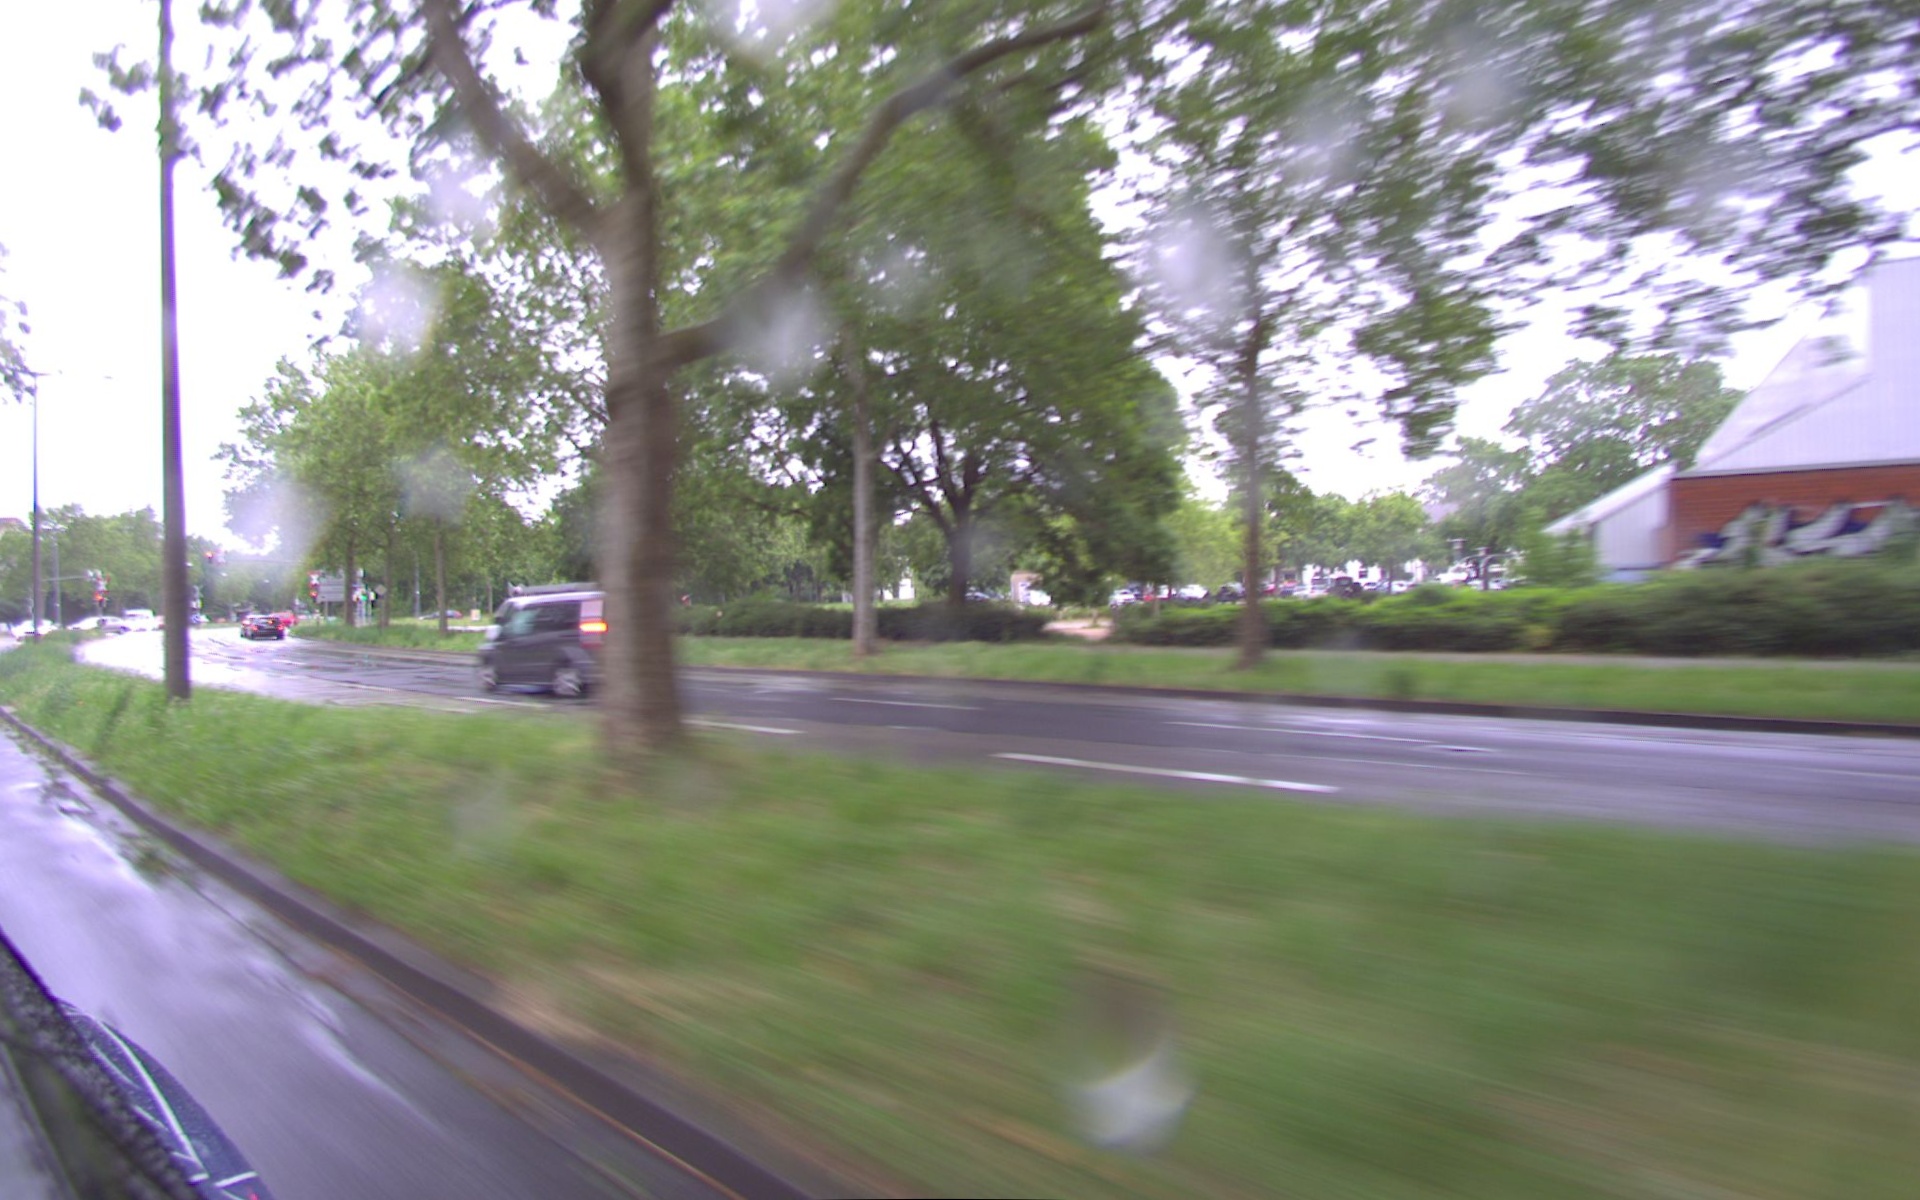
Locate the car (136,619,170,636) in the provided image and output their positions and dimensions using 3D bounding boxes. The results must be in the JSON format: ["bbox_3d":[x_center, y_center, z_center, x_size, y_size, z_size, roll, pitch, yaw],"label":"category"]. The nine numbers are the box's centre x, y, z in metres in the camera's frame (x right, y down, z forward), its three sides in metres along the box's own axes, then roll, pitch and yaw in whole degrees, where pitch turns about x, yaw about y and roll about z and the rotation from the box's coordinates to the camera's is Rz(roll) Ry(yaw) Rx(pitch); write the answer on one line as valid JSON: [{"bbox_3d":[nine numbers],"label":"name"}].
[{"bbox_3d":[-86.418,2.953,108.419,1.965,1.642,4.536,-2,0,-27],"label":"car"}]

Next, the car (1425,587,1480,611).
[{"bbox_3d":[42.142,-0.101,86.700,1.968,1.916,4.508,-1,0,-9],"label":"car"}]

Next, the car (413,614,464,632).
[{"bbox_3d":[-54.232,2.355,105.328,4.443,1.642,2.007,-2,0,-22],"label":"car"}]

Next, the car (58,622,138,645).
[{"bbox_3d":[-68.026,2.612,79.951,1.982,1.642,4.480,-1,0,16],"label":"car"}]

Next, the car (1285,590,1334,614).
[{"bbox_3d":[29.806,0.192,86.447,1.968,1.916,4.508,-1,0,-9],"label":"car"}]

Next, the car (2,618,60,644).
[{"bbox_3d":[-62.131,2.037,67.770,1.966,1.642,4.535,-2,0,-31],"label":"car"}]

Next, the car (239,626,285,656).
[{"bbox_3d":[-43.161,2.495,62.545,1.969,1.643,4.339,-2,0,-40],"label":"car"}]

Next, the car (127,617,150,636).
[{"bbox_3d":[-97.189,3.132,119.767,1.968,2.124,5.154,-2,0,-37],"label":"car"}]

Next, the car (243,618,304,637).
[{"bbox_3d":[-65.196,2.612,96.210,4.443,1.642,2.007,-2,0,-22],"label":"car"}]

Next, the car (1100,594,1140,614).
[{"bbox_3d":[13.525,0.318,85.698,1.968,1.549,4.508,-2,0,-9],"label":"car"}]

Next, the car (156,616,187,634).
[{"bbox_3d":[-89.221,2.801,114.586,1.965,1.901,4.536,-2,0,-28],"label":"car"}]

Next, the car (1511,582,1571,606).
[{"bbox_3d":[49.102,-0.464,85.675,1.968,1.916,4.508,-1,0,-9],"label":"car"}]

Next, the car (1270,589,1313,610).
[{"bbox_3d":[31.833,-0.080,97.359,1.968,1.916,4.508,-1,0,-9],"label":"car"}]

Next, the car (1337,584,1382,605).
[{"bbox_3d":[38.693,-0.513,98.062,1.968,1.916,4.508,-1,0,-9],"label":"car"}]

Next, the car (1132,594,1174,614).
[{"bbox_3d":[16.260,0.313,85.423,1.968,1.549,4.508,-2,0,-9],"label":"car"}]

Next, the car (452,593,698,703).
[{"bbox_3d":[-7.110,0.813,18.447,4.950,1.749,2.010,-2,-1,40],"label":"car"}]

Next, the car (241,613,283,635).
[{"bbox_3d":[-47.724,1.605,69.191,1.969,1.384,4.339,-2,0,-40],"label":"car"}]

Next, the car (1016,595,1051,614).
[{"bbox_3d":[6.205,0.349,85.766,1.968,1.549,4.508,-2,0,-9],"label":"car"}]

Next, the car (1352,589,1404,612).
[{"bbox_3d":[35.724,0.028,86.622,1.968,1.916,4.508,-1,0,-9],"label":"car"}]

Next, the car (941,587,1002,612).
[{"bbox_3d":[1.028,-0.049,93.796,5.331,2.190,2.003,-2,0,-7],"label":"car"}]

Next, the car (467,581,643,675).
[{"bbox_3d":[-10.709,0.714,26.542,5.431,2.243,2.009,-2,-1,41],"label":"car"}]

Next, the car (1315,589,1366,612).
[{"bbox_3d":[32.394,0.035,86.272,1.968,1.916,4.508,-1,0,-9],"label":"car"}]

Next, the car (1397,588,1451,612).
[{"bbox_3d":[39.252,0.022,85.784,2.080,1.916,4.505,-1,0,-6],"label":"car"}]

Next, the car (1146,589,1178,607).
[{"bbox_3d":[22.794,-0.231,114.318,1.968,1.916,4.508,-1,0,-9],"label":"car"}]
